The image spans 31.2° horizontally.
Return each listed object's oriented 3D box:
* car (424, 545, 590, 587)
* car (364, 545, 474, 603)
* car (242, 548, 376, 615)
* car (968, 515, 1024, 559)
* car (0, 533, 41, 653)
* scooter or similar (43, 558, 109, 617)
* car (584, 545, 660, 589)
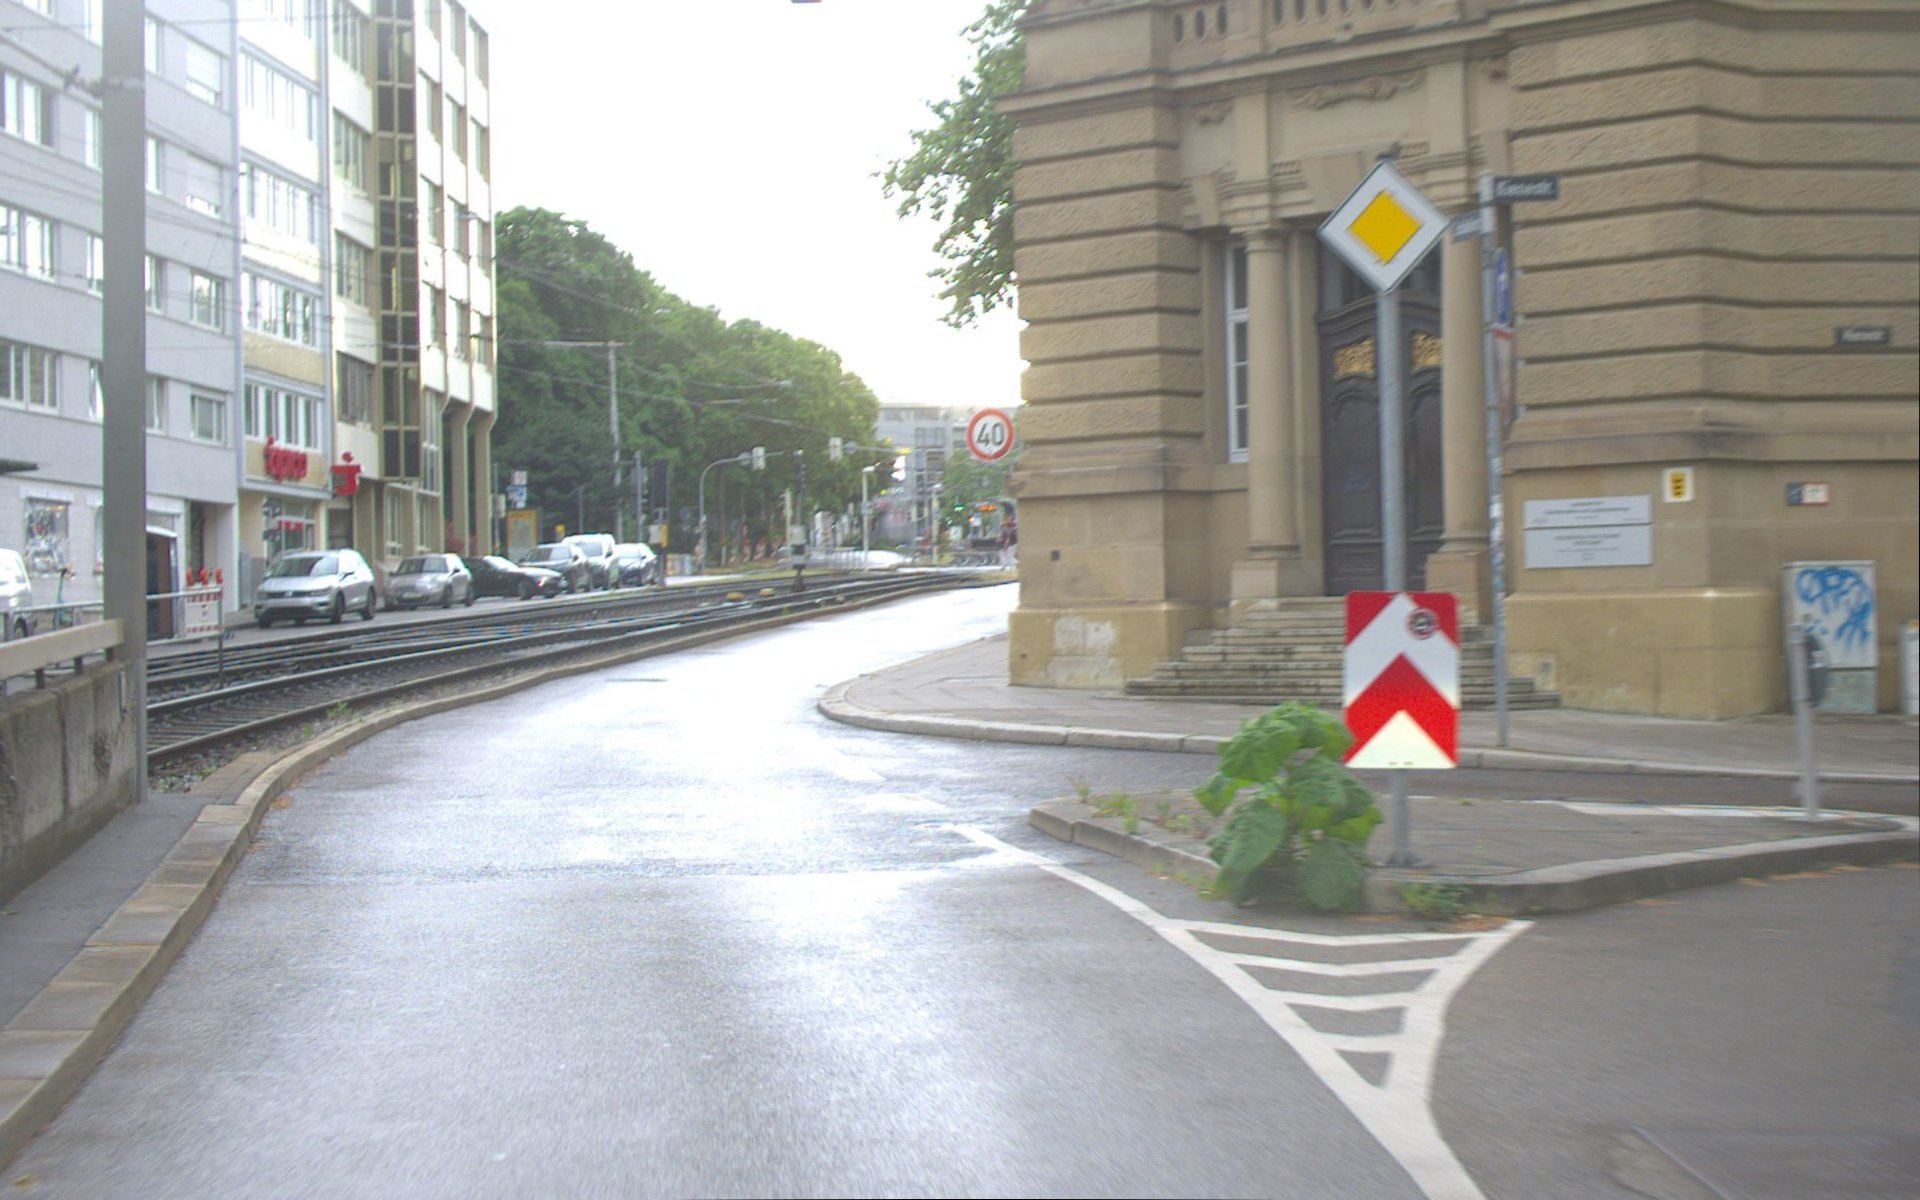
[{"bbox_3d":[-12.830,-0.956,97.268,4.303,1.159,1.997,0,1,28],"label":"car"},{"bbox_3d":[-13.885,-0.691,88.416,1.994,1.451,4.311,0,1,2],"label":"car"},{"bbox_3d":[-14.373,-0.429,76.149,1.994,1.451,4.311,0,1,2],"label":"car"},{"bbox_3d":[1.395,-2.370,130.523,1.994,1.656,4.000,0,1,3],"label":"car"},{"bbox_3d":[-16.079,-0.103,53.604,1.994,1.876,4.927,0,1,2],"label":"car"},{"bbox_3d":[-18.272,-0.271,71.081,0.764,1.215,2.065,0,1,2],"label":"scooter or similar"},{"bbox_3d":[-11.531,-1.132,117.494,1.994,1.451,4.311,0,1,2],"label":"car"}]
